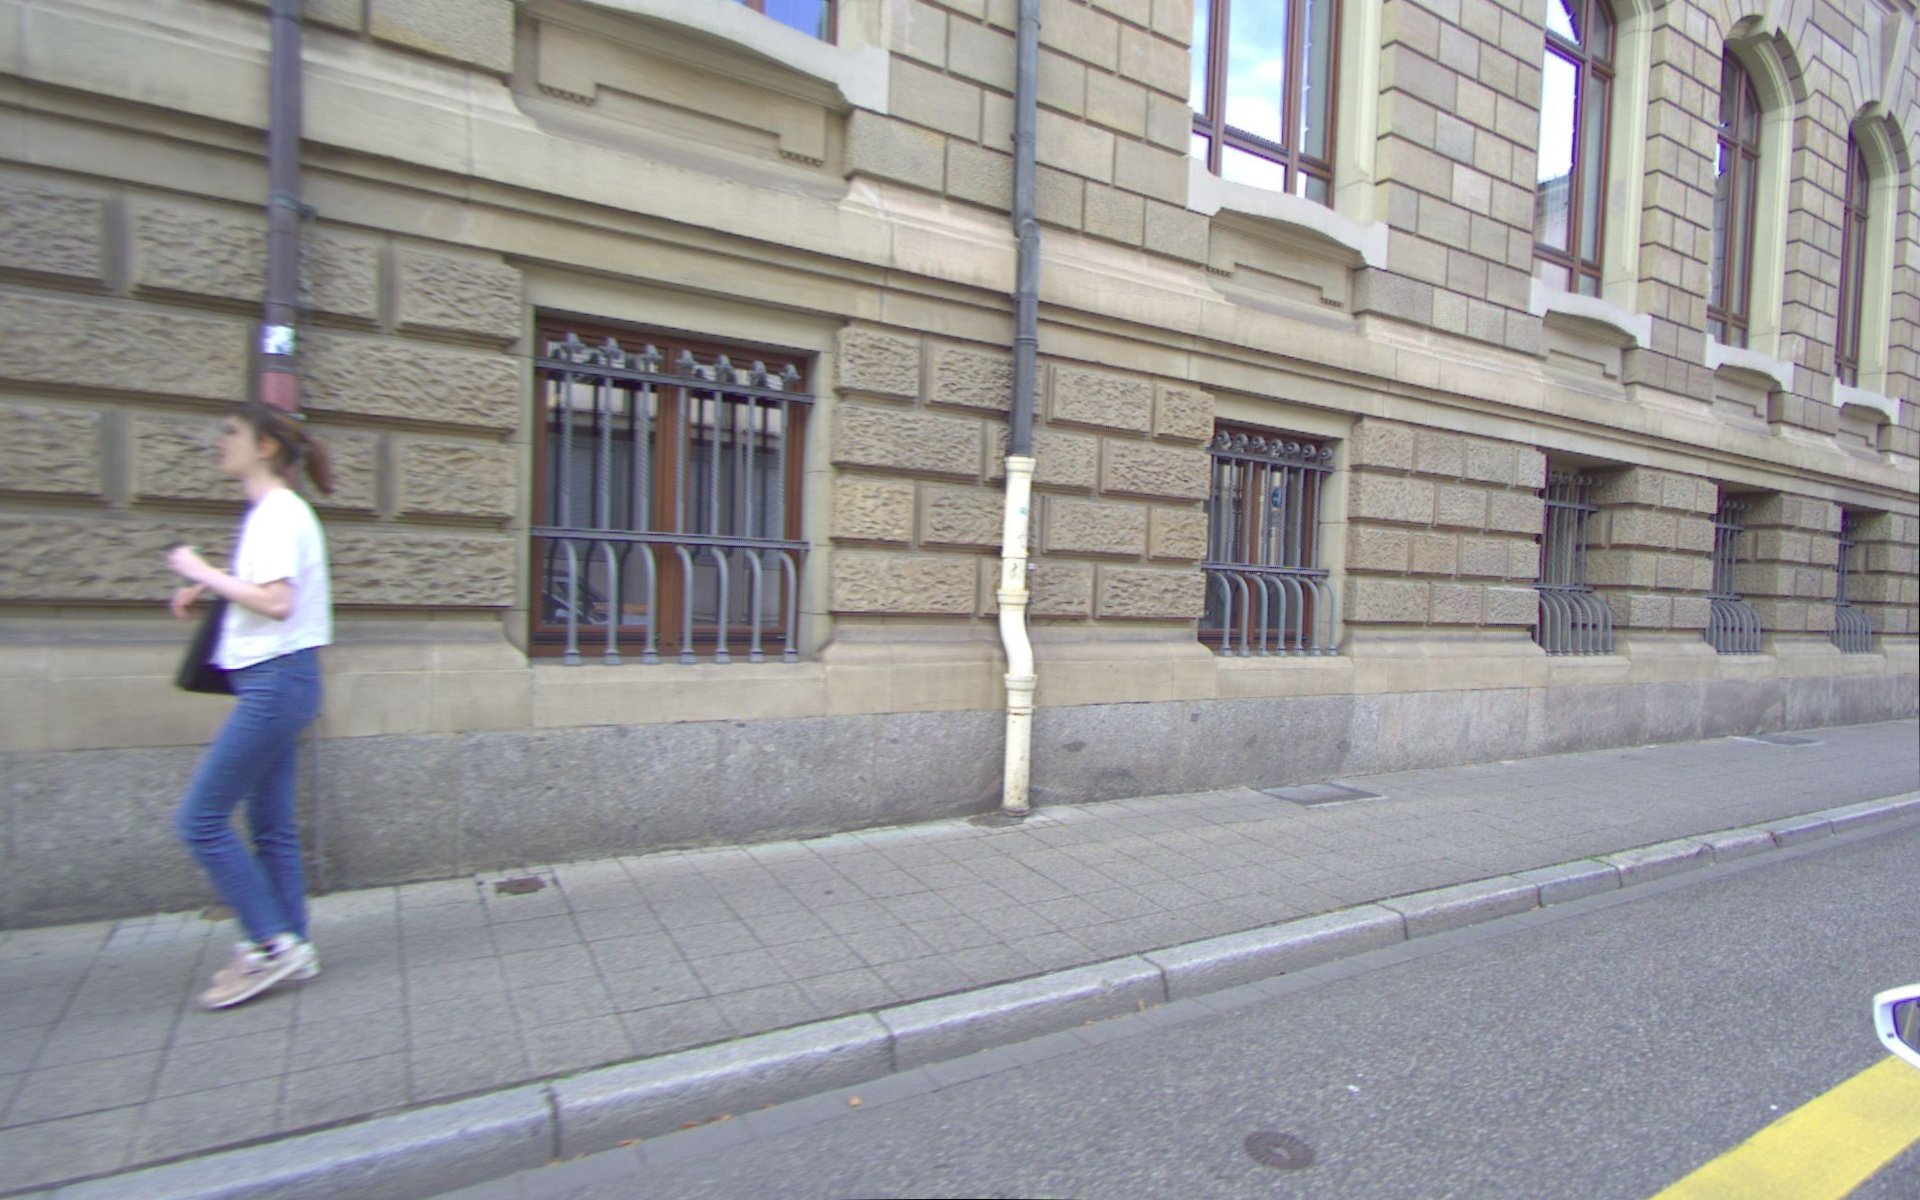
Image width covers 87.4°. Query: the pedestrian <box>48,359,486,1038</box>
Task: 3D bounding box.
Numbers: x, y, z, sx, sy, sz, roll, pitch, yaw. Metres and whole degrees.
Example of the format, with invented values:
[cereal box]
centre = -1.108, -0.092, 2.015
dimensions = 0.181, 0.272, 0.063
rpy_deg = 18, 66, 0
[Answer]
[pedestrian]
centre = -2.171, 0.273, 3.263
dimensions = 1.036, 1.844, 0.660
rpy_deg = 2, 3, -31
